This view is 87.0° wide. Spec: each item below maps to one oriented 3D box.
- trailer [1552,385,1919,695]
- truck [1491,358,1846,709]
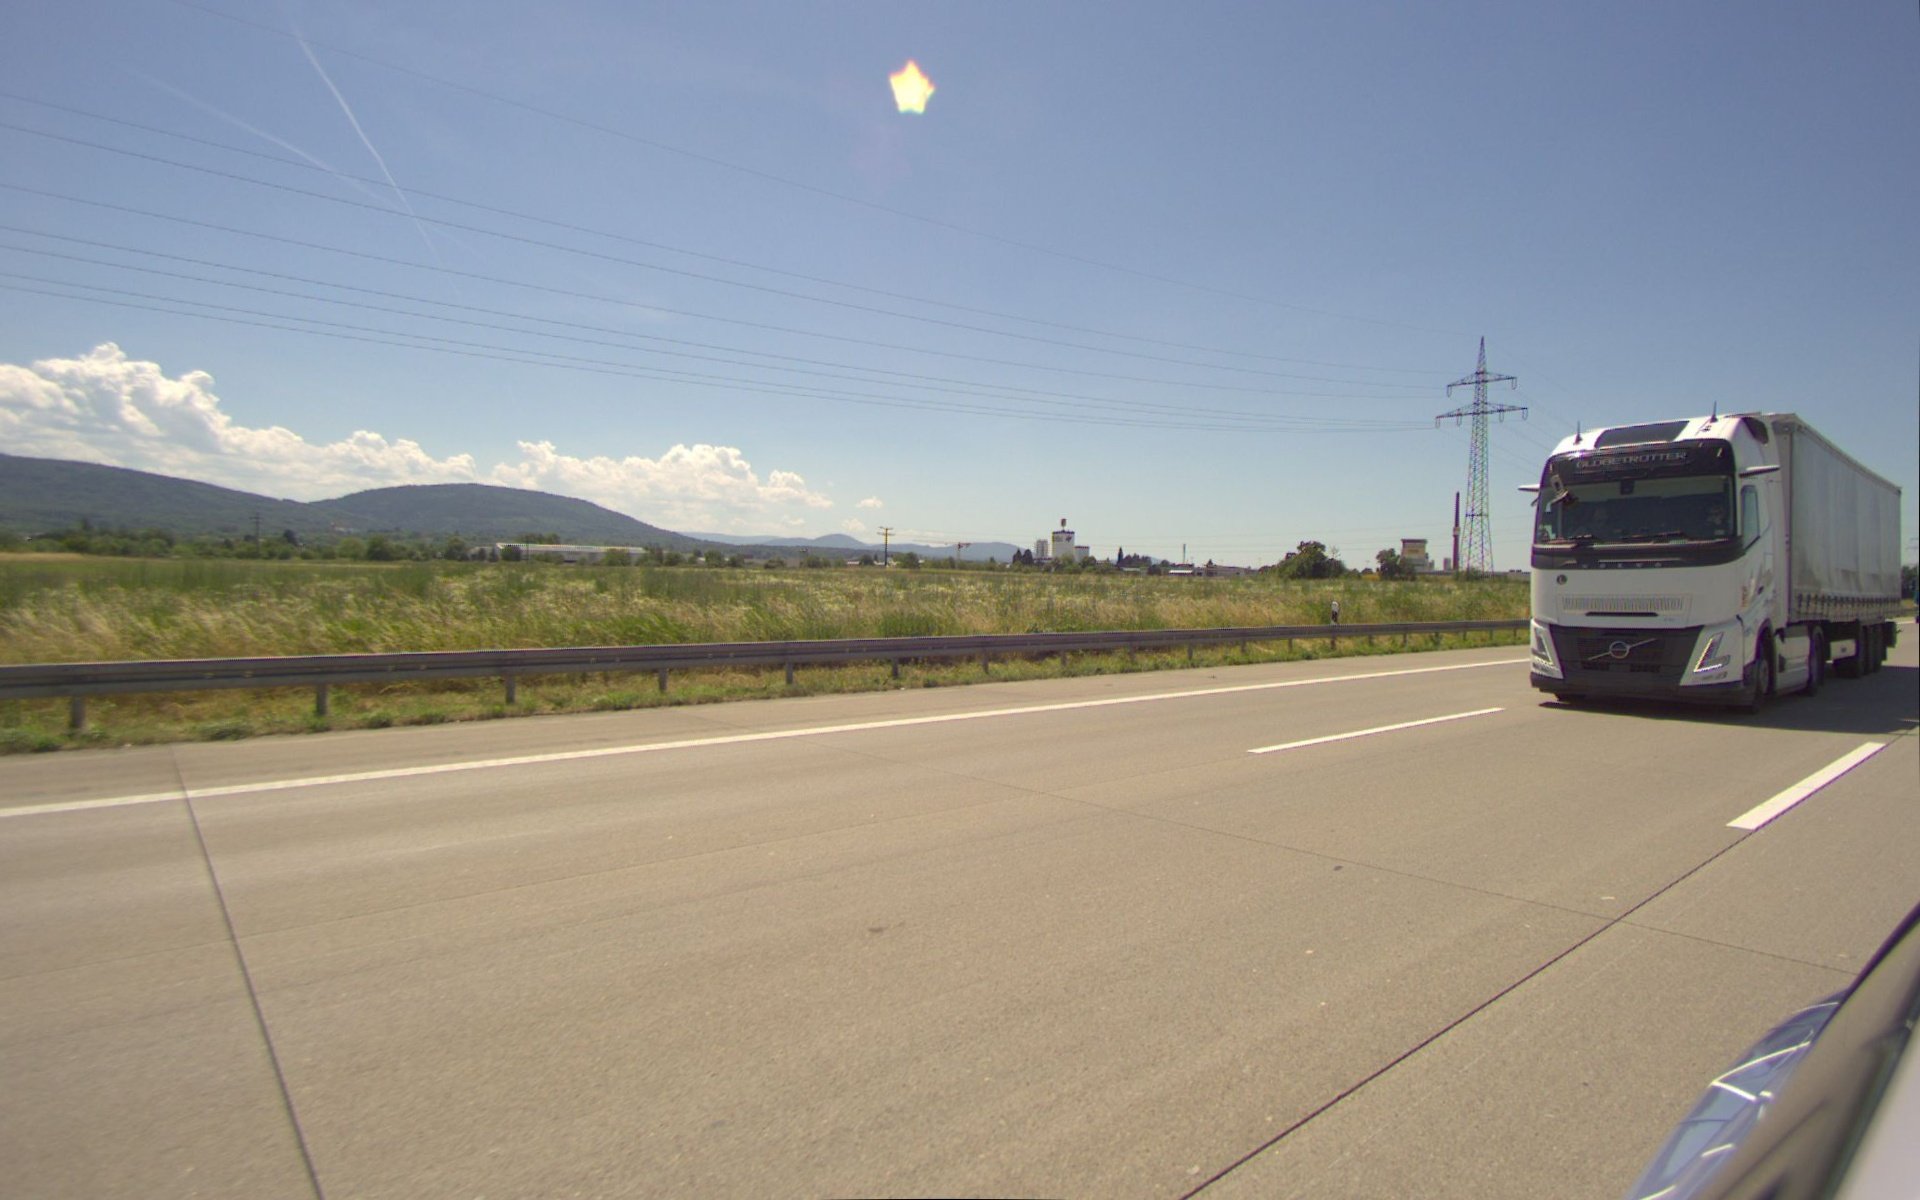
[{"bbox_3d":[15.493,-0.819,19.111,13.956,4.112,3.023,0,0,-41],"label":"trailer"},{"bbox_3d":[10.440,-0.793,14.763,5.381,4.114,2.989,0,0,-41],"label":"truck"}]
